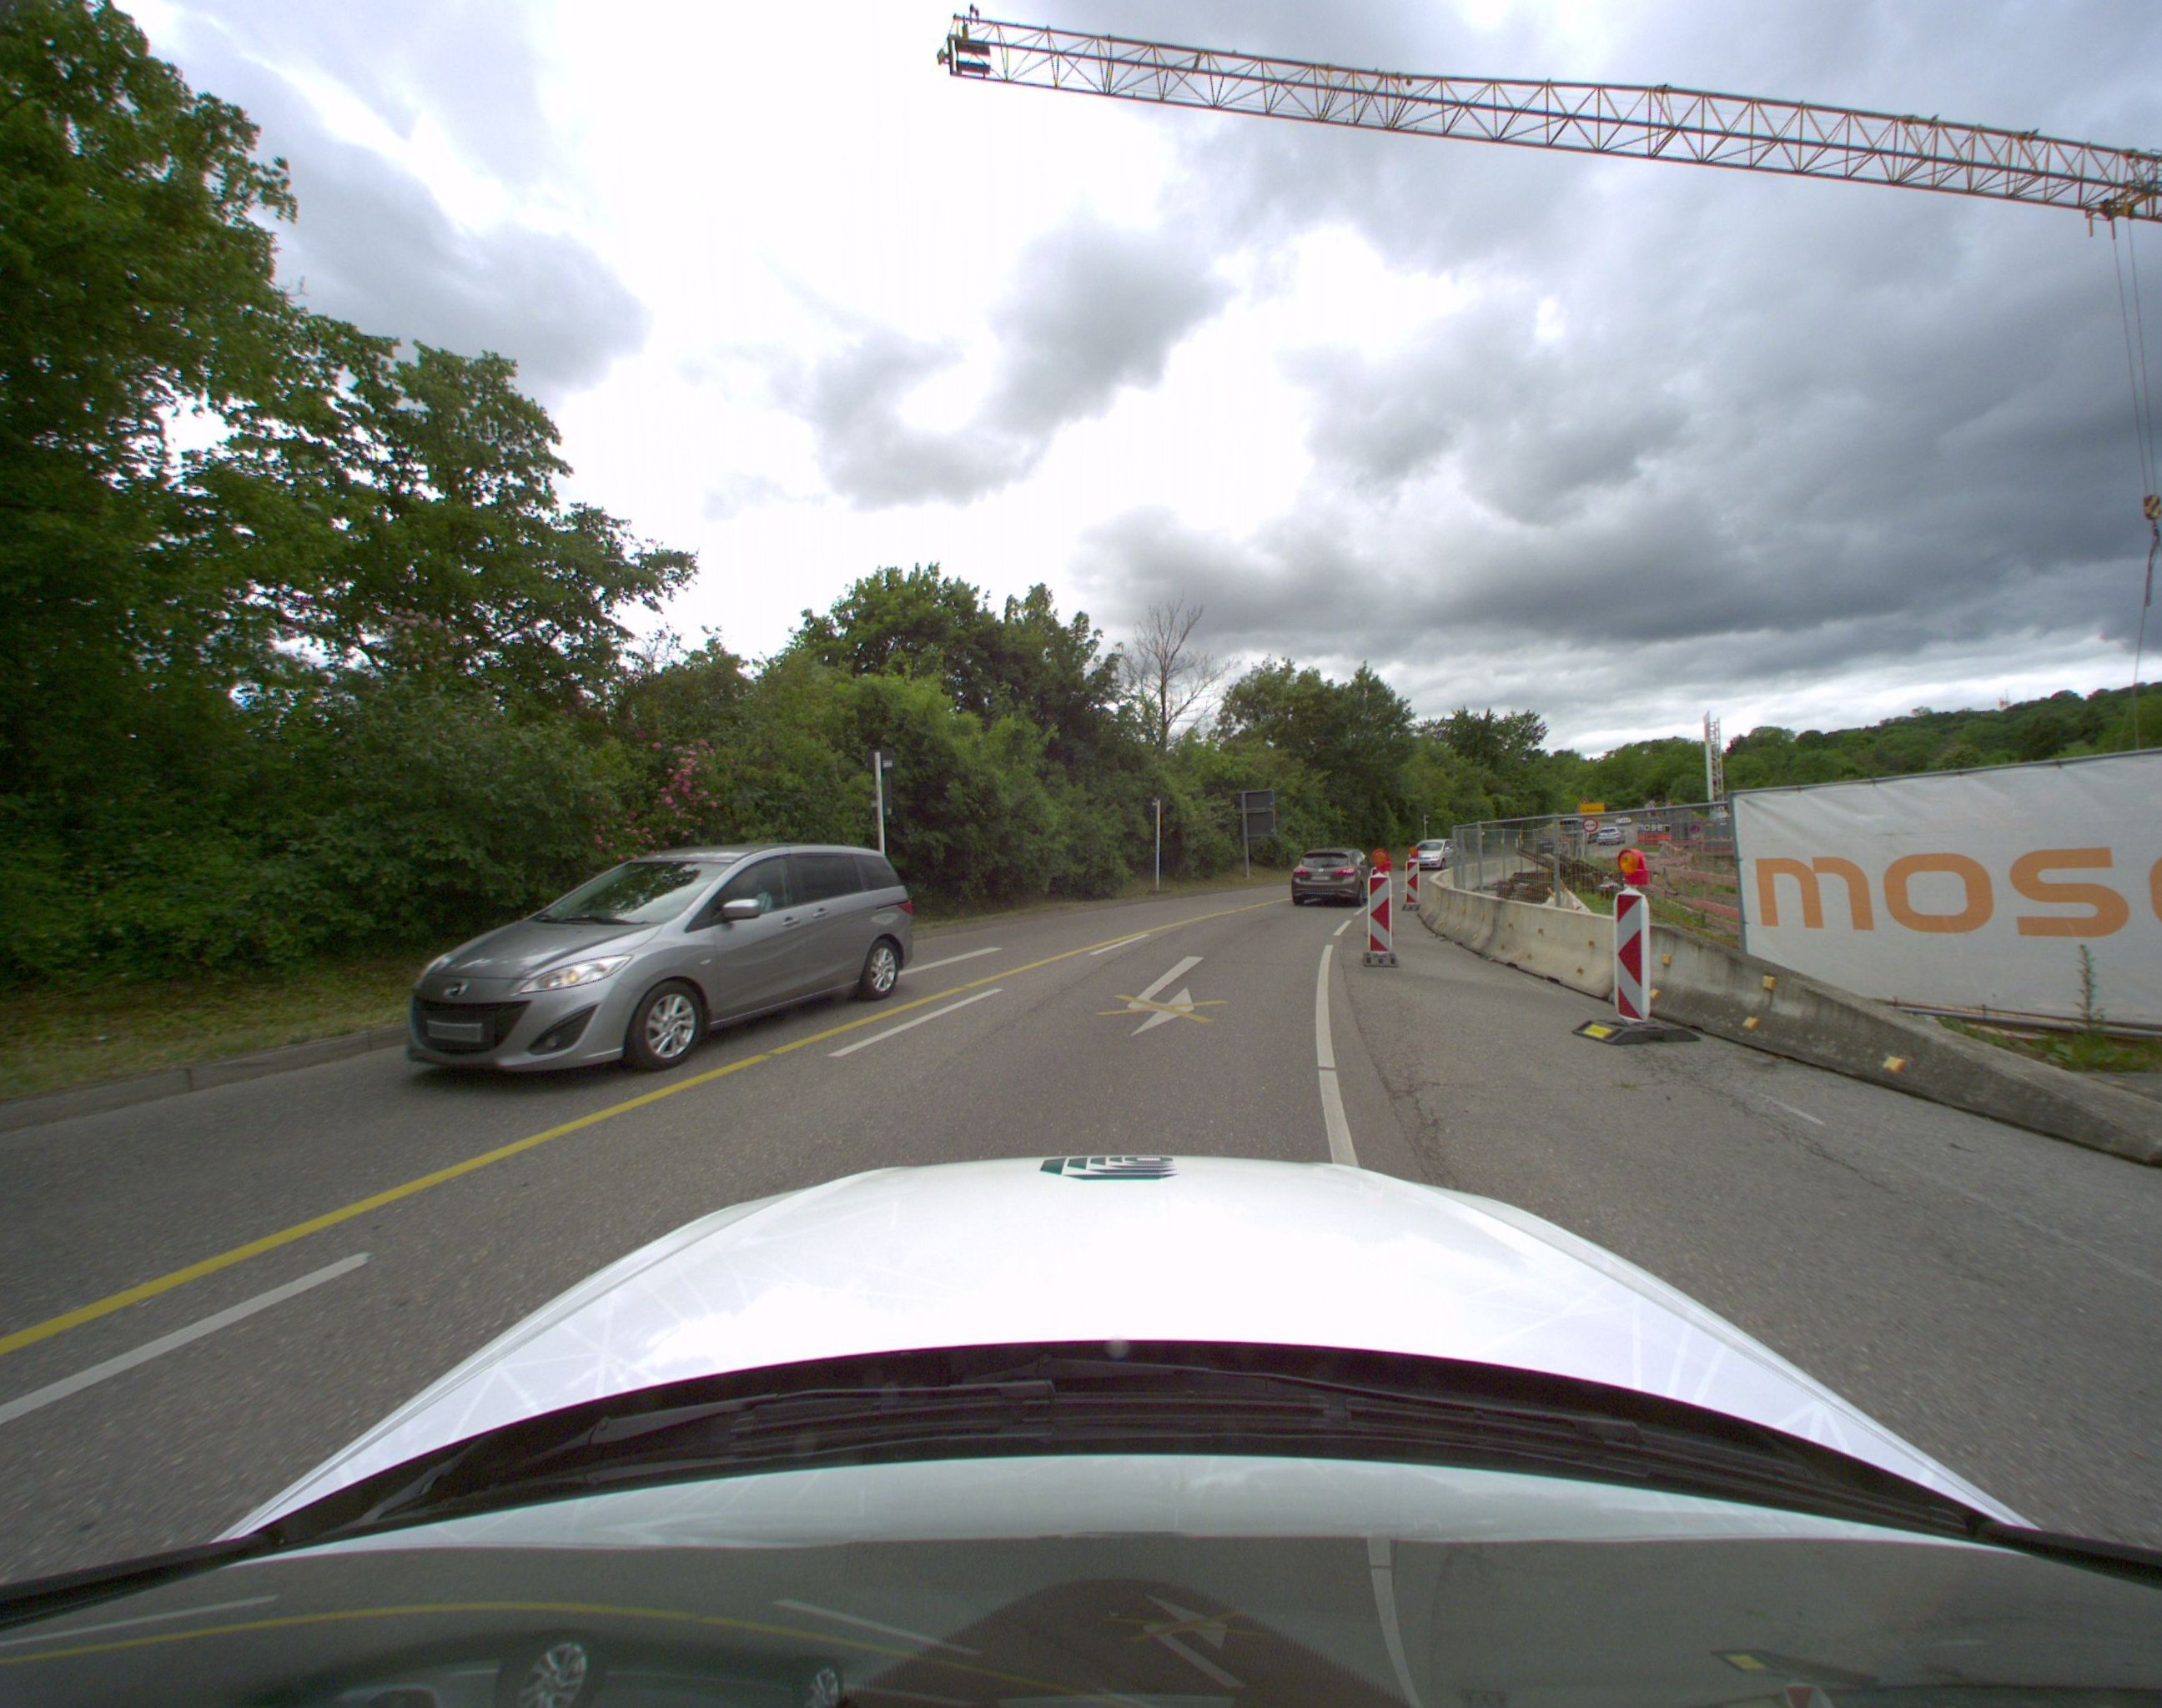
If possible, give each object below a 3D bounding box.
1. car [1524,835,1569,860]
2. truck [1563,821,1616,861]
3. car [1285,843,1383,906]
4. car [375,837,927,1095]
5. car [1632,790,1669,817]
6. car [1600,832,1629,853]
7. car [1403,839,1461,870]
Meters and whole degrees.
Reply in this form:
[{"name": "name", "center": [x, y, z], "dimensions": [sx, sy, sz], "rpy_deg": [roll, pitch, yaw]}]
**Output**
[{"name": "car", "center": [30.086, -0.440, 52.574], "dimensions": [1.802, 1.552, 3.812], "rpy_deg": [-1, 1, 41]}, {"name": "truck", "center": [48.032, -1.280, 76.808], "dimensions": [2.793, 3.335, 8.434], "rpy_deg": [-3, 1, 41]}, {"name": "car", "center": [7.074, 0.480, 22.502], "dimensions": [1.780, 1.552, 4.025], "rpy_deg": [0, 1, 29]}, {"name": "car", "center": [-3.187, 0.669, 7.200], "dimensions": [1.619, 1.545, 4.372], "rpy_deg": [-1, 0, 19]}, {"name": "car", "center": [48.973, -4.298, 69.979], "dimensions": [1.974, 2.014, 4.025], "rpy_deg": [-4, -1, 43]}, {"name": "car", "center": [45.656, -0.977, 69.684], "dimensions": [1.695, 1.675, 4.026], "rpy_deg": [-3, -1, 38]}, {"name": "car", "center": [18.725, -0.020, 43.396], "dimensions": [1.640, 1.552, 4.213], "rpy_deg": [0, 1, 41]}]
